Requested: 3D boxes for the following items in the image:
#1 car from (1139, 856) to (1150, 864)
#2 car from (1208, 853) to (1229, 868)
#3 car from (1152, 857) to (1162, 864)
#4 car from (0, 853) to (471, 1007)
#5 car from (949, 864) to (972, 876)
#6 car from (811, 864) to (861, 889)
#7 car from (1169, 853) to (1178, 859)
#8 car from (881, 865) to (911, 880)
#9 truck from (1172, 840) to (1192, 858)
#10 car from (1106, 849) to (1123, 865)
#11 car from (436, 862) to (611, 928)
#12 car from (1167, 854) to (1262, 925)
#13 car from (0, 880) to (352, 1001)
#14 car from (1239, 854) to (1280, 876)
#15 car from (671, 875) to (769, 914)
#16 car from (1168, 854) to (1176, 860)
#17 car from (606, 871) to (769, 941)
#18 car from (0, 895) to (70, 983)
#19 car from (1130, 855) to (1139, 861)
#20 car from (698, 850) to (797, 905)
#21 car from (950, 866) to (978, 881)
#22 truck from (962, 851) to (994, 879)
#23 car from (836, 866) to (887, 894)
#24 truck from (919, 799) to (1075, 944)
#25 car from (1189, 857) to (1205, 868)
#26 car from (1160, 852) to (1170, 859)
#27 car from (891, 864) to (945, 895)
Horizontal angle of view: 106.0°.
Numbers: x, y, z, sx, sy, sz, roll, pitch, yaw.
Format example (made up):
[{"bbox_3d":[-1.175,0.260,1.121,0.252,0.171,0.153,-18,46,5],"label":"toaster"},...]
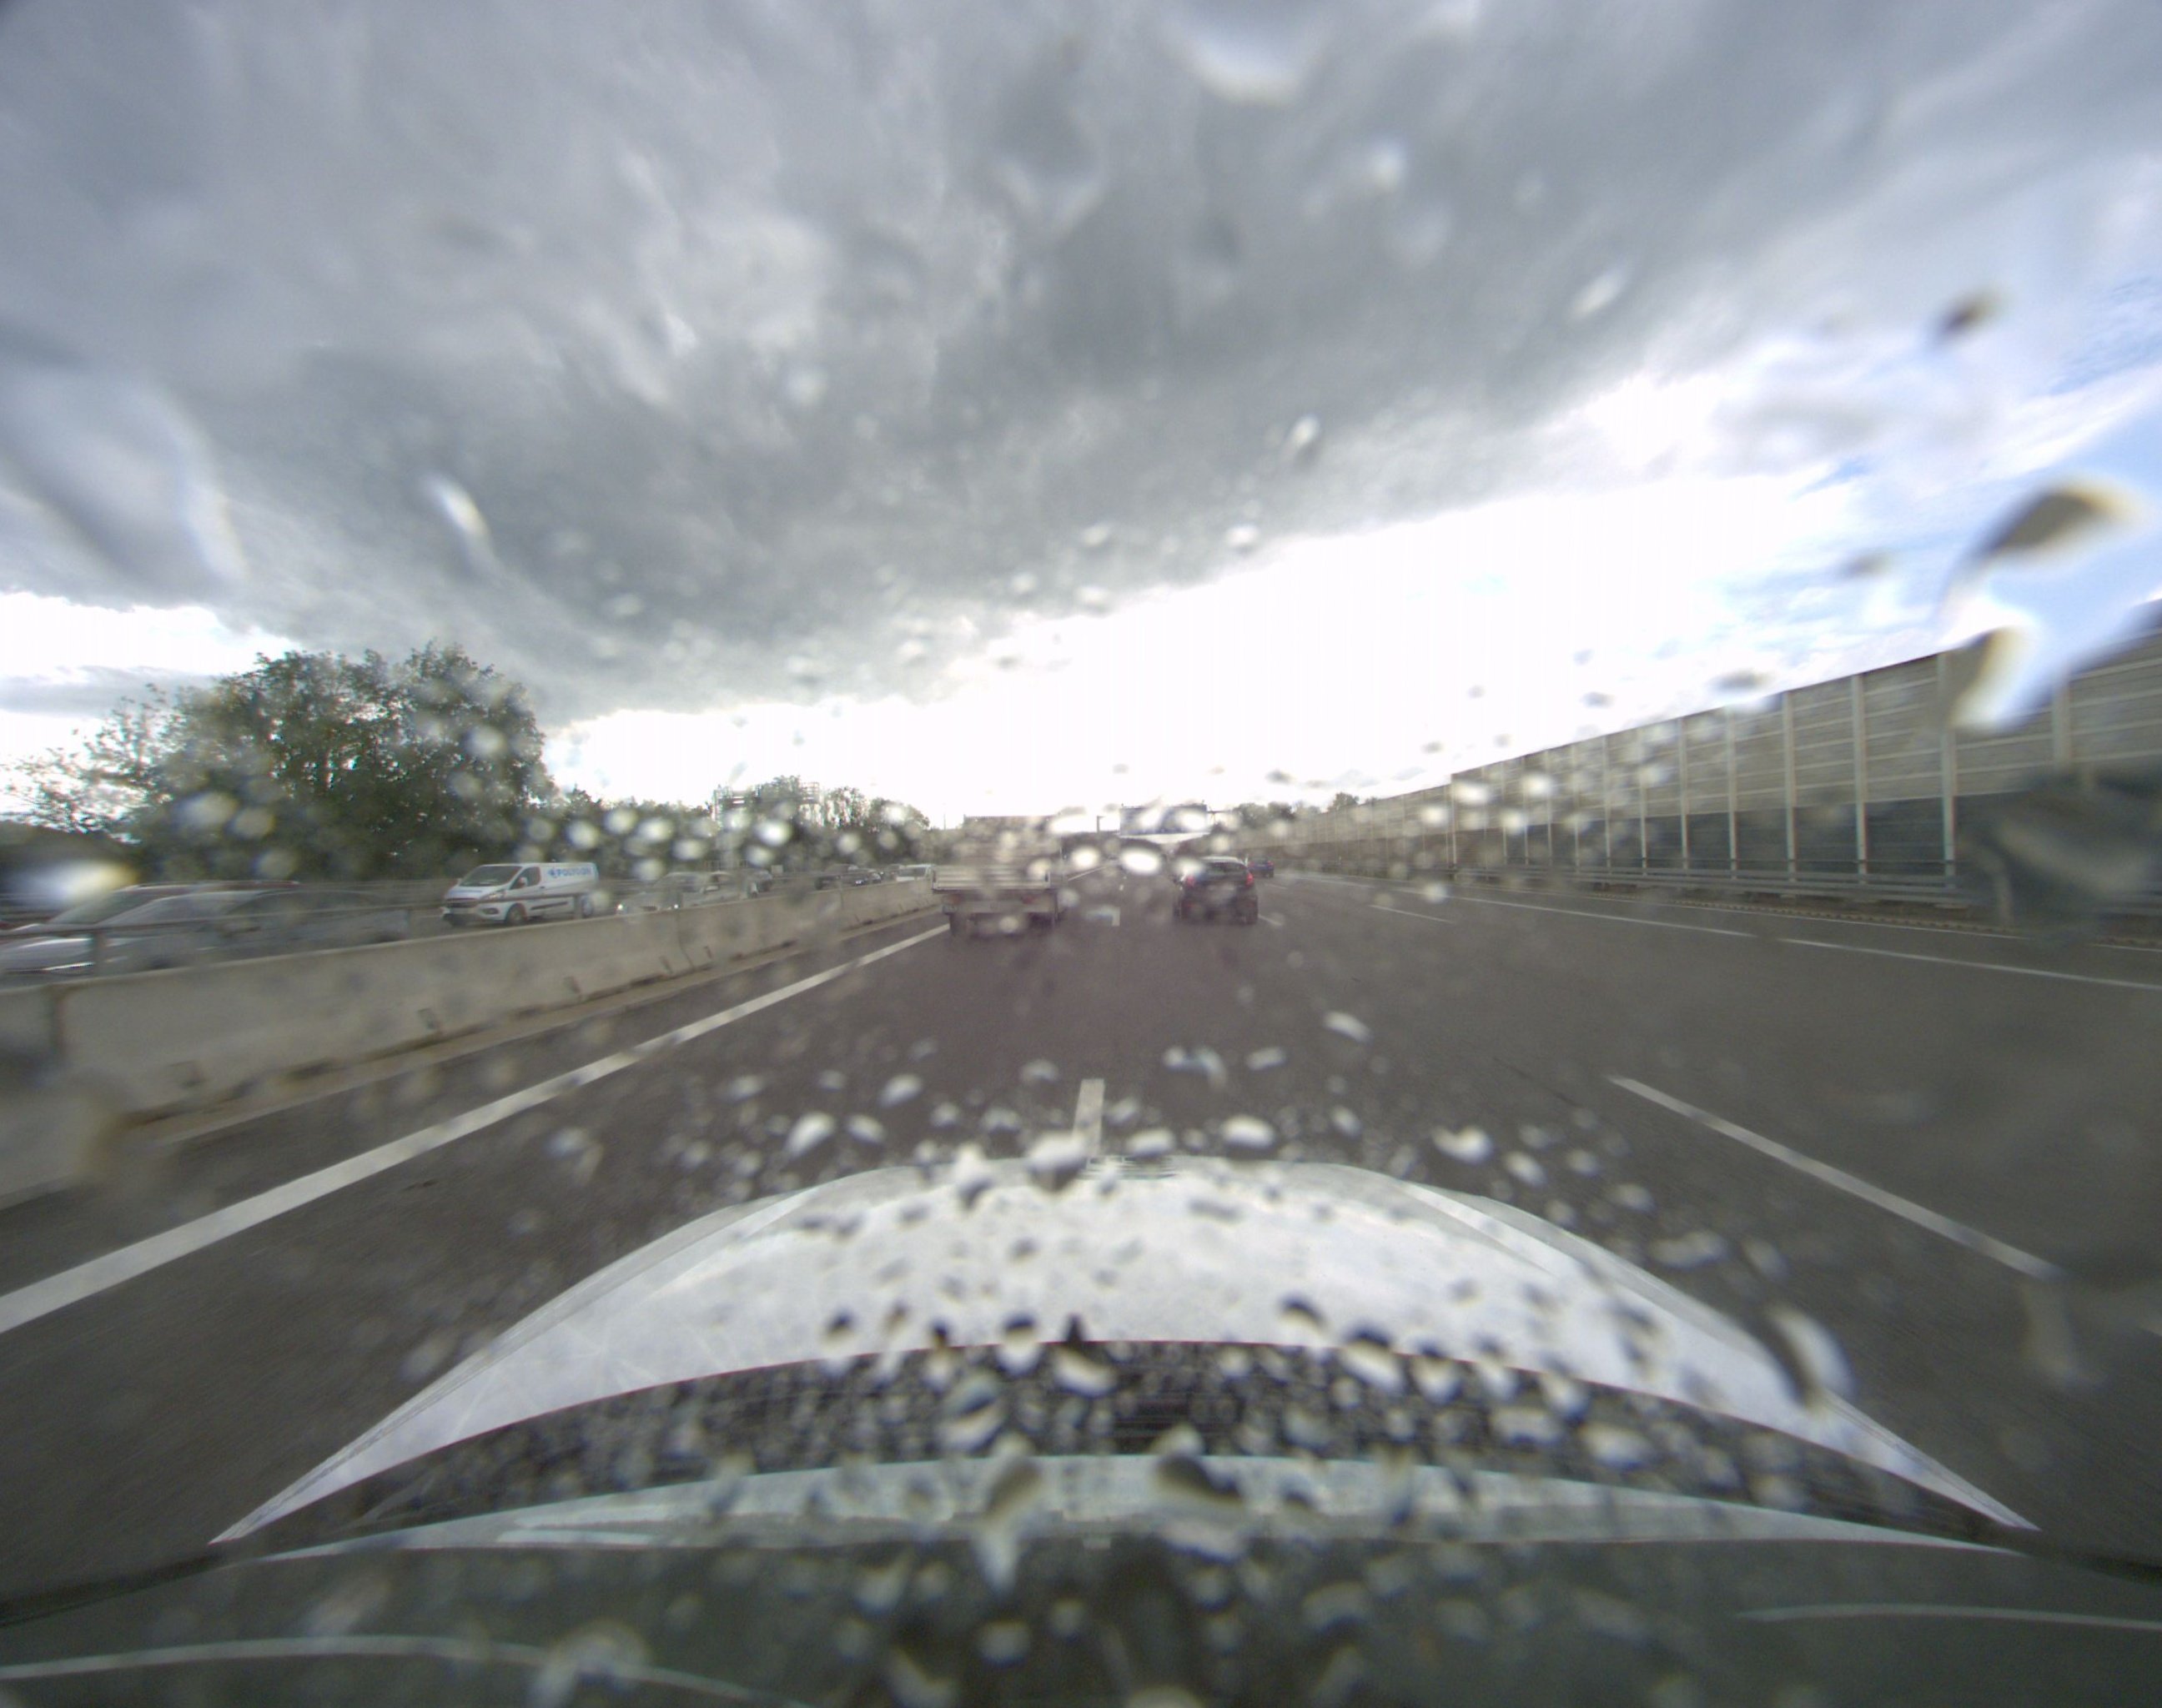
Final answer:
[{"bbox_3d":[12.810,1.219,165.332,1.960,1.561,4.435,-2,-1,2],"label":"car"},{"bbox_3d":[15.318,0.701,90.667,1.874,1.542,4.438,-2,-1,4],"label":"car"},{"bbox_3d":[19.267,1.677,206.381,1.961,1.561,4.434,-2,-1,1],"label":"car"},{"bbox_3d":[-11.384,0.835,11.298,1.715,1.646,5.068,0,0,4],"label":"car"},{"bbox_3d":[-14.003,1.857,94.729,1.715,1.428,4.524,0,0,4],"label":"car"},{"bbox_3d":[-16.596,1.488,55.425,1.715,1.646,4.524,0,0,4],"label":"car"},{"bbox_3d":[25.269,0.643,222.156,1.960,1.561,4.435,-2,-1,2],"label":"car"},{"bbox_3d":[-18.474,1.815,81.459,1.715,1.428,4.524,0,0,4],"label":"car"},{"bbox_3d":[20.599,-1.026,166.648,3.140,3.601,12.707,0,0,2],"label":"truck"},{"bbox_3d":[3.645,0.282,88.264,1.709,1.624,4.284,-1,1,4],"label":"car"},{"bbox_3d":[-18.109,1.250,26.865,1.680,1.936,5.553,0,0,3],"label":"car"},{"bbox_3d":[2.974,0.736,18.921,1.710,1.417,4.282,-1,0,3],"label":"car"},{"bbox_3d":[-15.600,1.319,14.063,1.715,1.646,4.524,0,0,4],"label":"car"},{"bbox_3d":[11.842,0.714,54.223,1.942,1.418,4.235,-2,0,3],"label":"car"},{"bbox_3d":[-14.600,1.601,33.249,1.715,1.415,4.524,0,0,4],"label":"car"},{"bbox_3d":[27.497,0.973,246.207,1.960,1.561,4.435,-2,-1,2],"label":"car"},{"bbox_3d":[-10.596,1.324,22.453,1.715,1.646,5.068,0,0,4],"label":"car"},{"bbox_3d":[-19.309,1.452,12.251,1.715,1.456,5.024,0,0,4],"label":"car"},{"bbox_3d":[13.687,1.005,208.935,1.960,1.561,4.435,-2,-1,2],"label":"car"},{"bbox_3d":[-21.160,1.426,52.217,2.717,3.239,7.945,0,0,3],"label":"car"},{"bbox_3d":[-11.496,1.891,80.216,1.715,1.428,4.524,0,0,4],"label":"car"},{"bbox_3d":[-15.684,1.657,124.610,2.902,4.014,9.593,-1,0,4],"label":"truck"},{"bbox_3d":[-13.774,1.626,51.355,1.716,1.646,4.523,0,0,3],"label":"car"},{"bbox_3d":[-1.465,0.266,17.481,2.298,2.439,7.153,-1,1,2],"label":"truck"},{"bbox_3d":[17.524,1.213,122.945,1.875,1.561,4.435,-2,-1,2],"label":"car"},{"bbox_3d":[18.893,0.368,183.814,1.960,1.561,4.435,-2,-1,2],"label":"car"},{"bbox_3d":[-9.030,1.381,45.495,1.716,1.646,5.002,0,0,3],"label":"car"}]
